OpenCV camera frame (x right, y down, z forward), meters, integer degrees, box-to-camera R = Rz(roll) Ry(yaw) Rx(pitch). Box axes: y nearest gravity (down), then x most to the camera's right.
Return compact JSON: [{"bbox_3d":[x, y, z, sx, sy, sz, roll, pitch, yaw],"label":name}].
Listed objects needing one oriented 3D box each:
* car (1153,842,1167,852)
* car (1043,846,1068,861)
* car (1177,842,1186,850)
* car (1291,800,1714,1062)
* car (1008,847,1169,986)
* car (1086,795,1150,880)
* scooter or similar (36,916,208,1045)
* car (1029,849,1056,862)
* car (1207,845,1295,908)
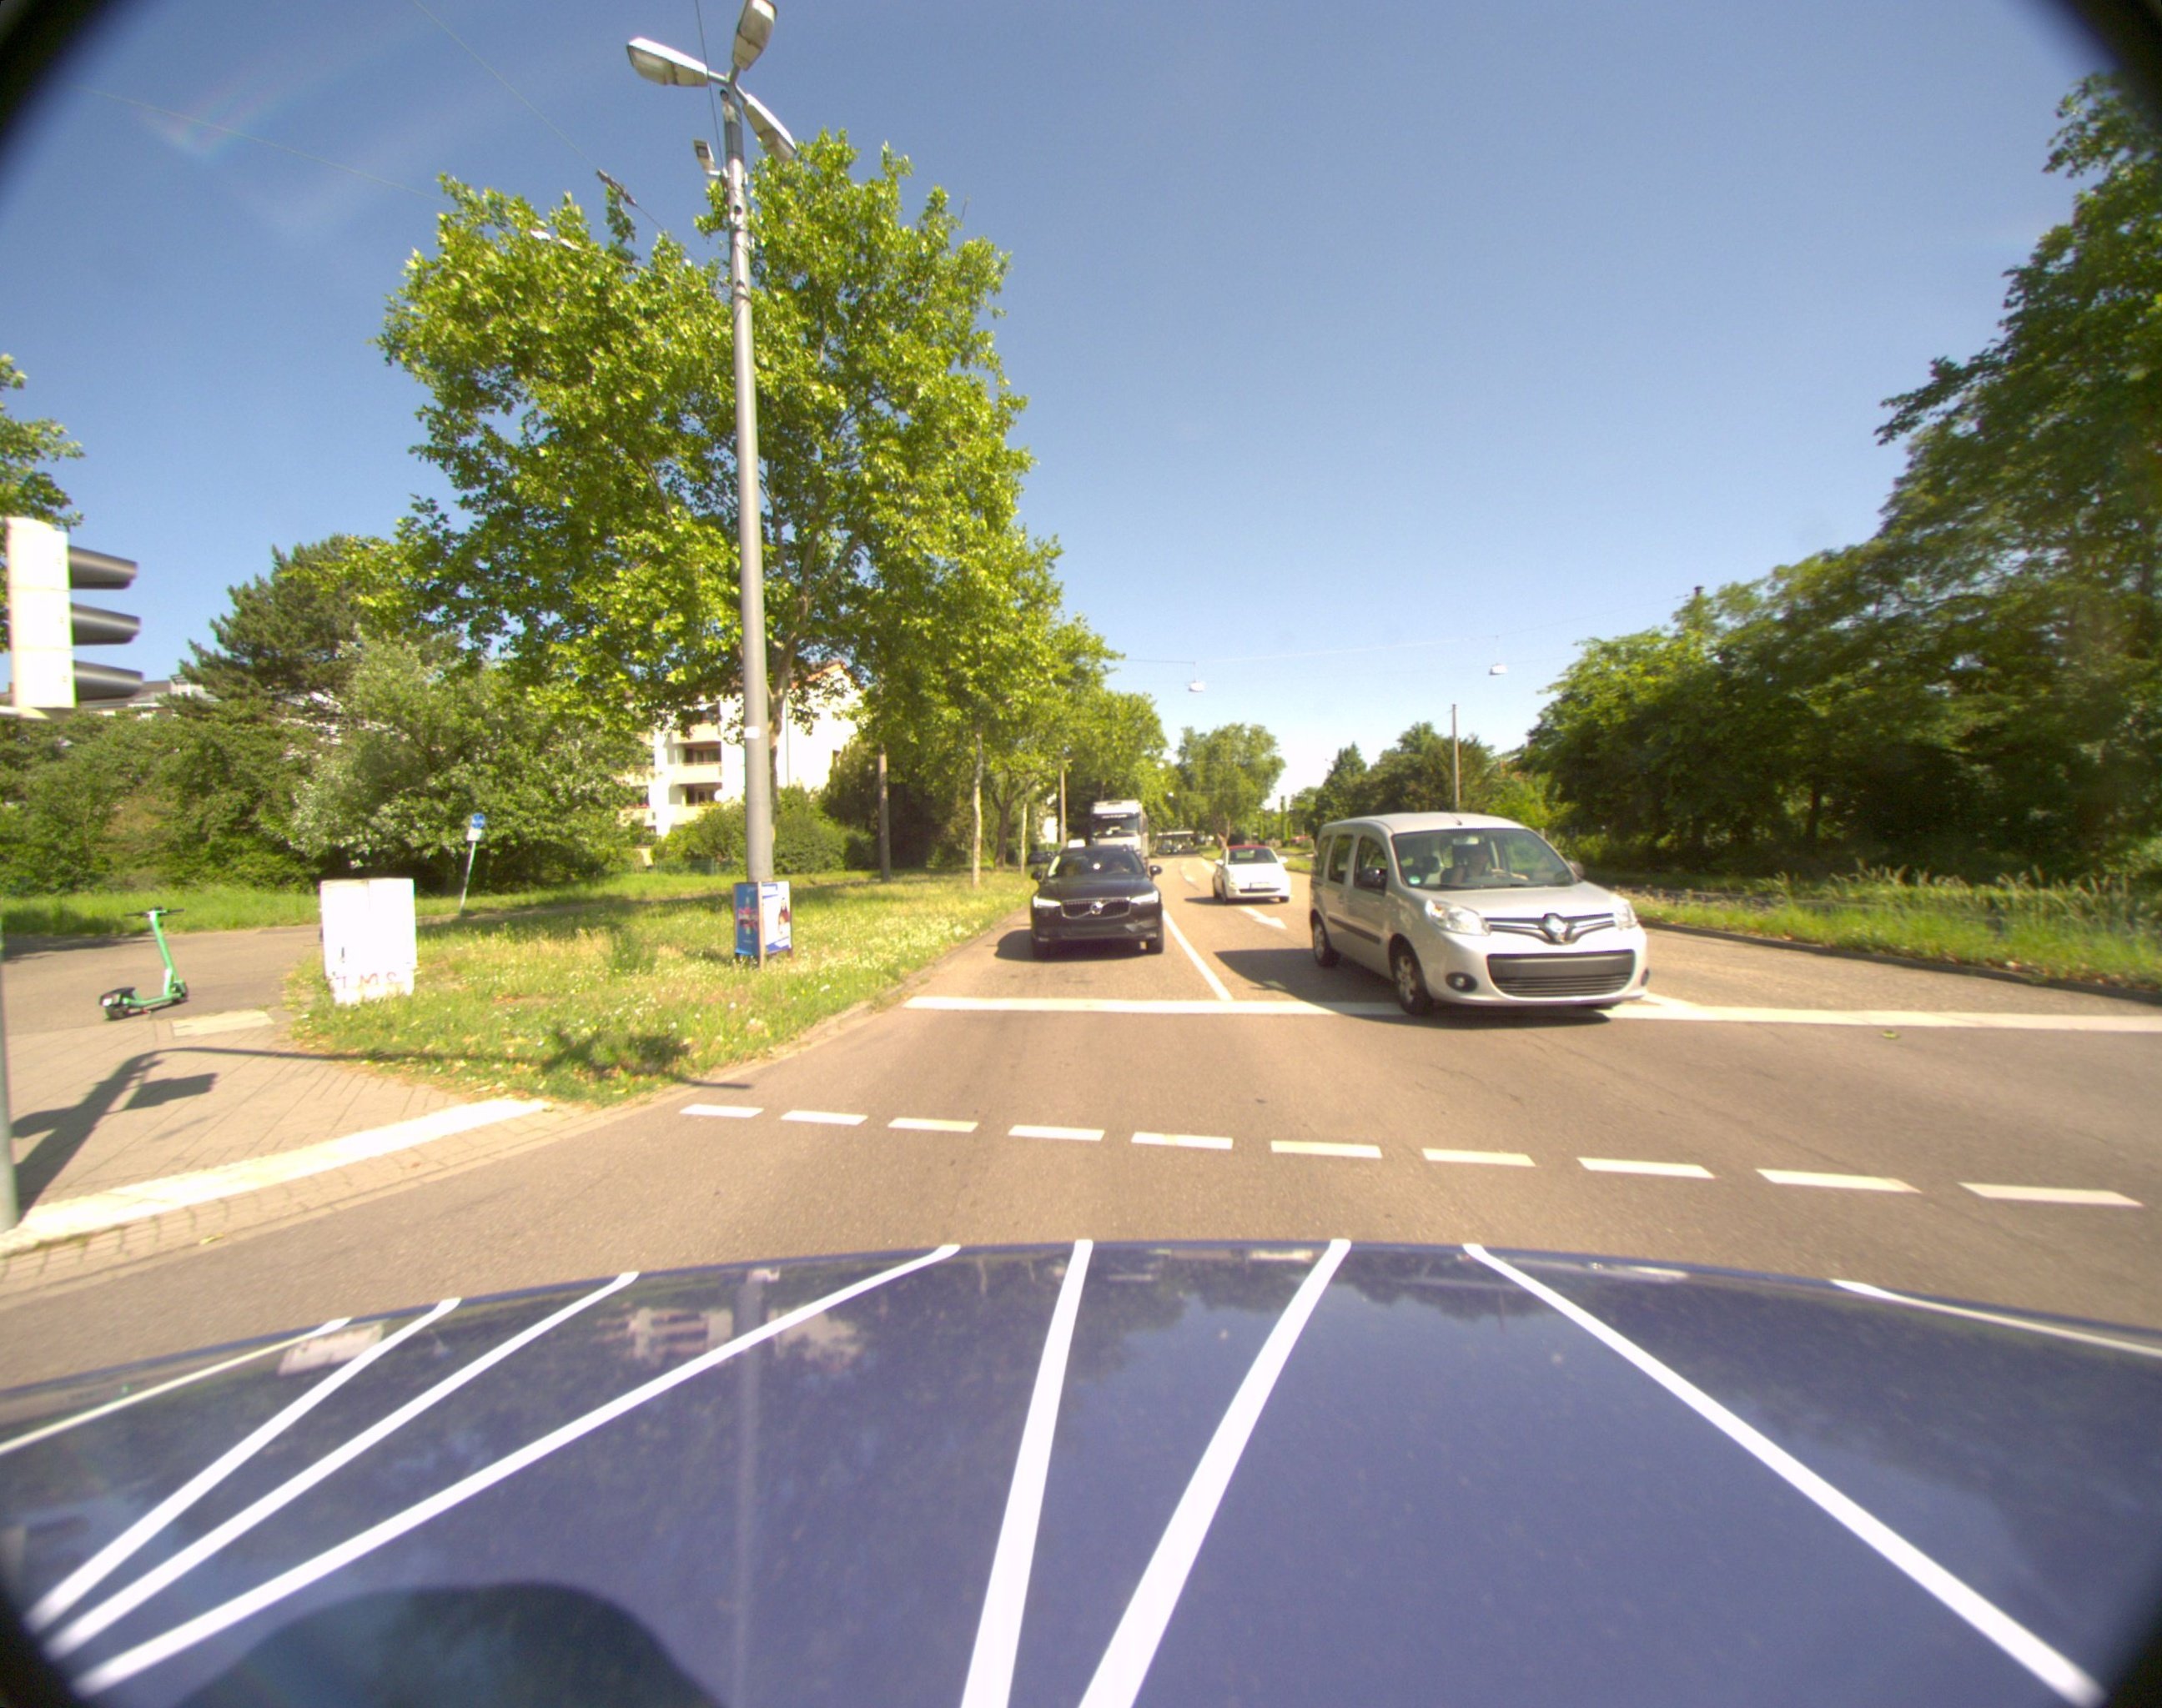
[{"bbox_3d":[16.112,-1.400,154.894,1.996,2.002,4.005,-1,1,18],"label":"car"},{"bbox_3d":[-2.873,-0.079,87.408,1.504,1.633,4.094,-1,1,18],"label":"car"},{"bbox_3d":[26.412,-2.047,199.836,1.996,2.002,4.004,-1,1,15],"label":"car"},{"bbox_3d":[3.634,0.528,7.652,1.877,1.829,4.375,-2,1,1],"label":"car"},{"bbox_3d":[0.192,0.742,11.706,1.904,1.606,4.873,-2,1,2],"label":"car"},{"bbox_3d":[1.950,-0.825,39.068,2.902,3.898,7.142,-1,1,4],"label":"car"},{"bbox_3d":[-10.581,1.347,8.454,0.518,1.135,1.443,-4,3,-25],"label":"scooter or similar"},{"bbox_3d":[-4.108,0.140,81.919,1.504,1.364,4.094,-1,1,18],"label":"car"},{"bbox_3d":[4.490,0.530,20.683,1.689,1.482,4.376,-1,1,4],"label":"car"}]
